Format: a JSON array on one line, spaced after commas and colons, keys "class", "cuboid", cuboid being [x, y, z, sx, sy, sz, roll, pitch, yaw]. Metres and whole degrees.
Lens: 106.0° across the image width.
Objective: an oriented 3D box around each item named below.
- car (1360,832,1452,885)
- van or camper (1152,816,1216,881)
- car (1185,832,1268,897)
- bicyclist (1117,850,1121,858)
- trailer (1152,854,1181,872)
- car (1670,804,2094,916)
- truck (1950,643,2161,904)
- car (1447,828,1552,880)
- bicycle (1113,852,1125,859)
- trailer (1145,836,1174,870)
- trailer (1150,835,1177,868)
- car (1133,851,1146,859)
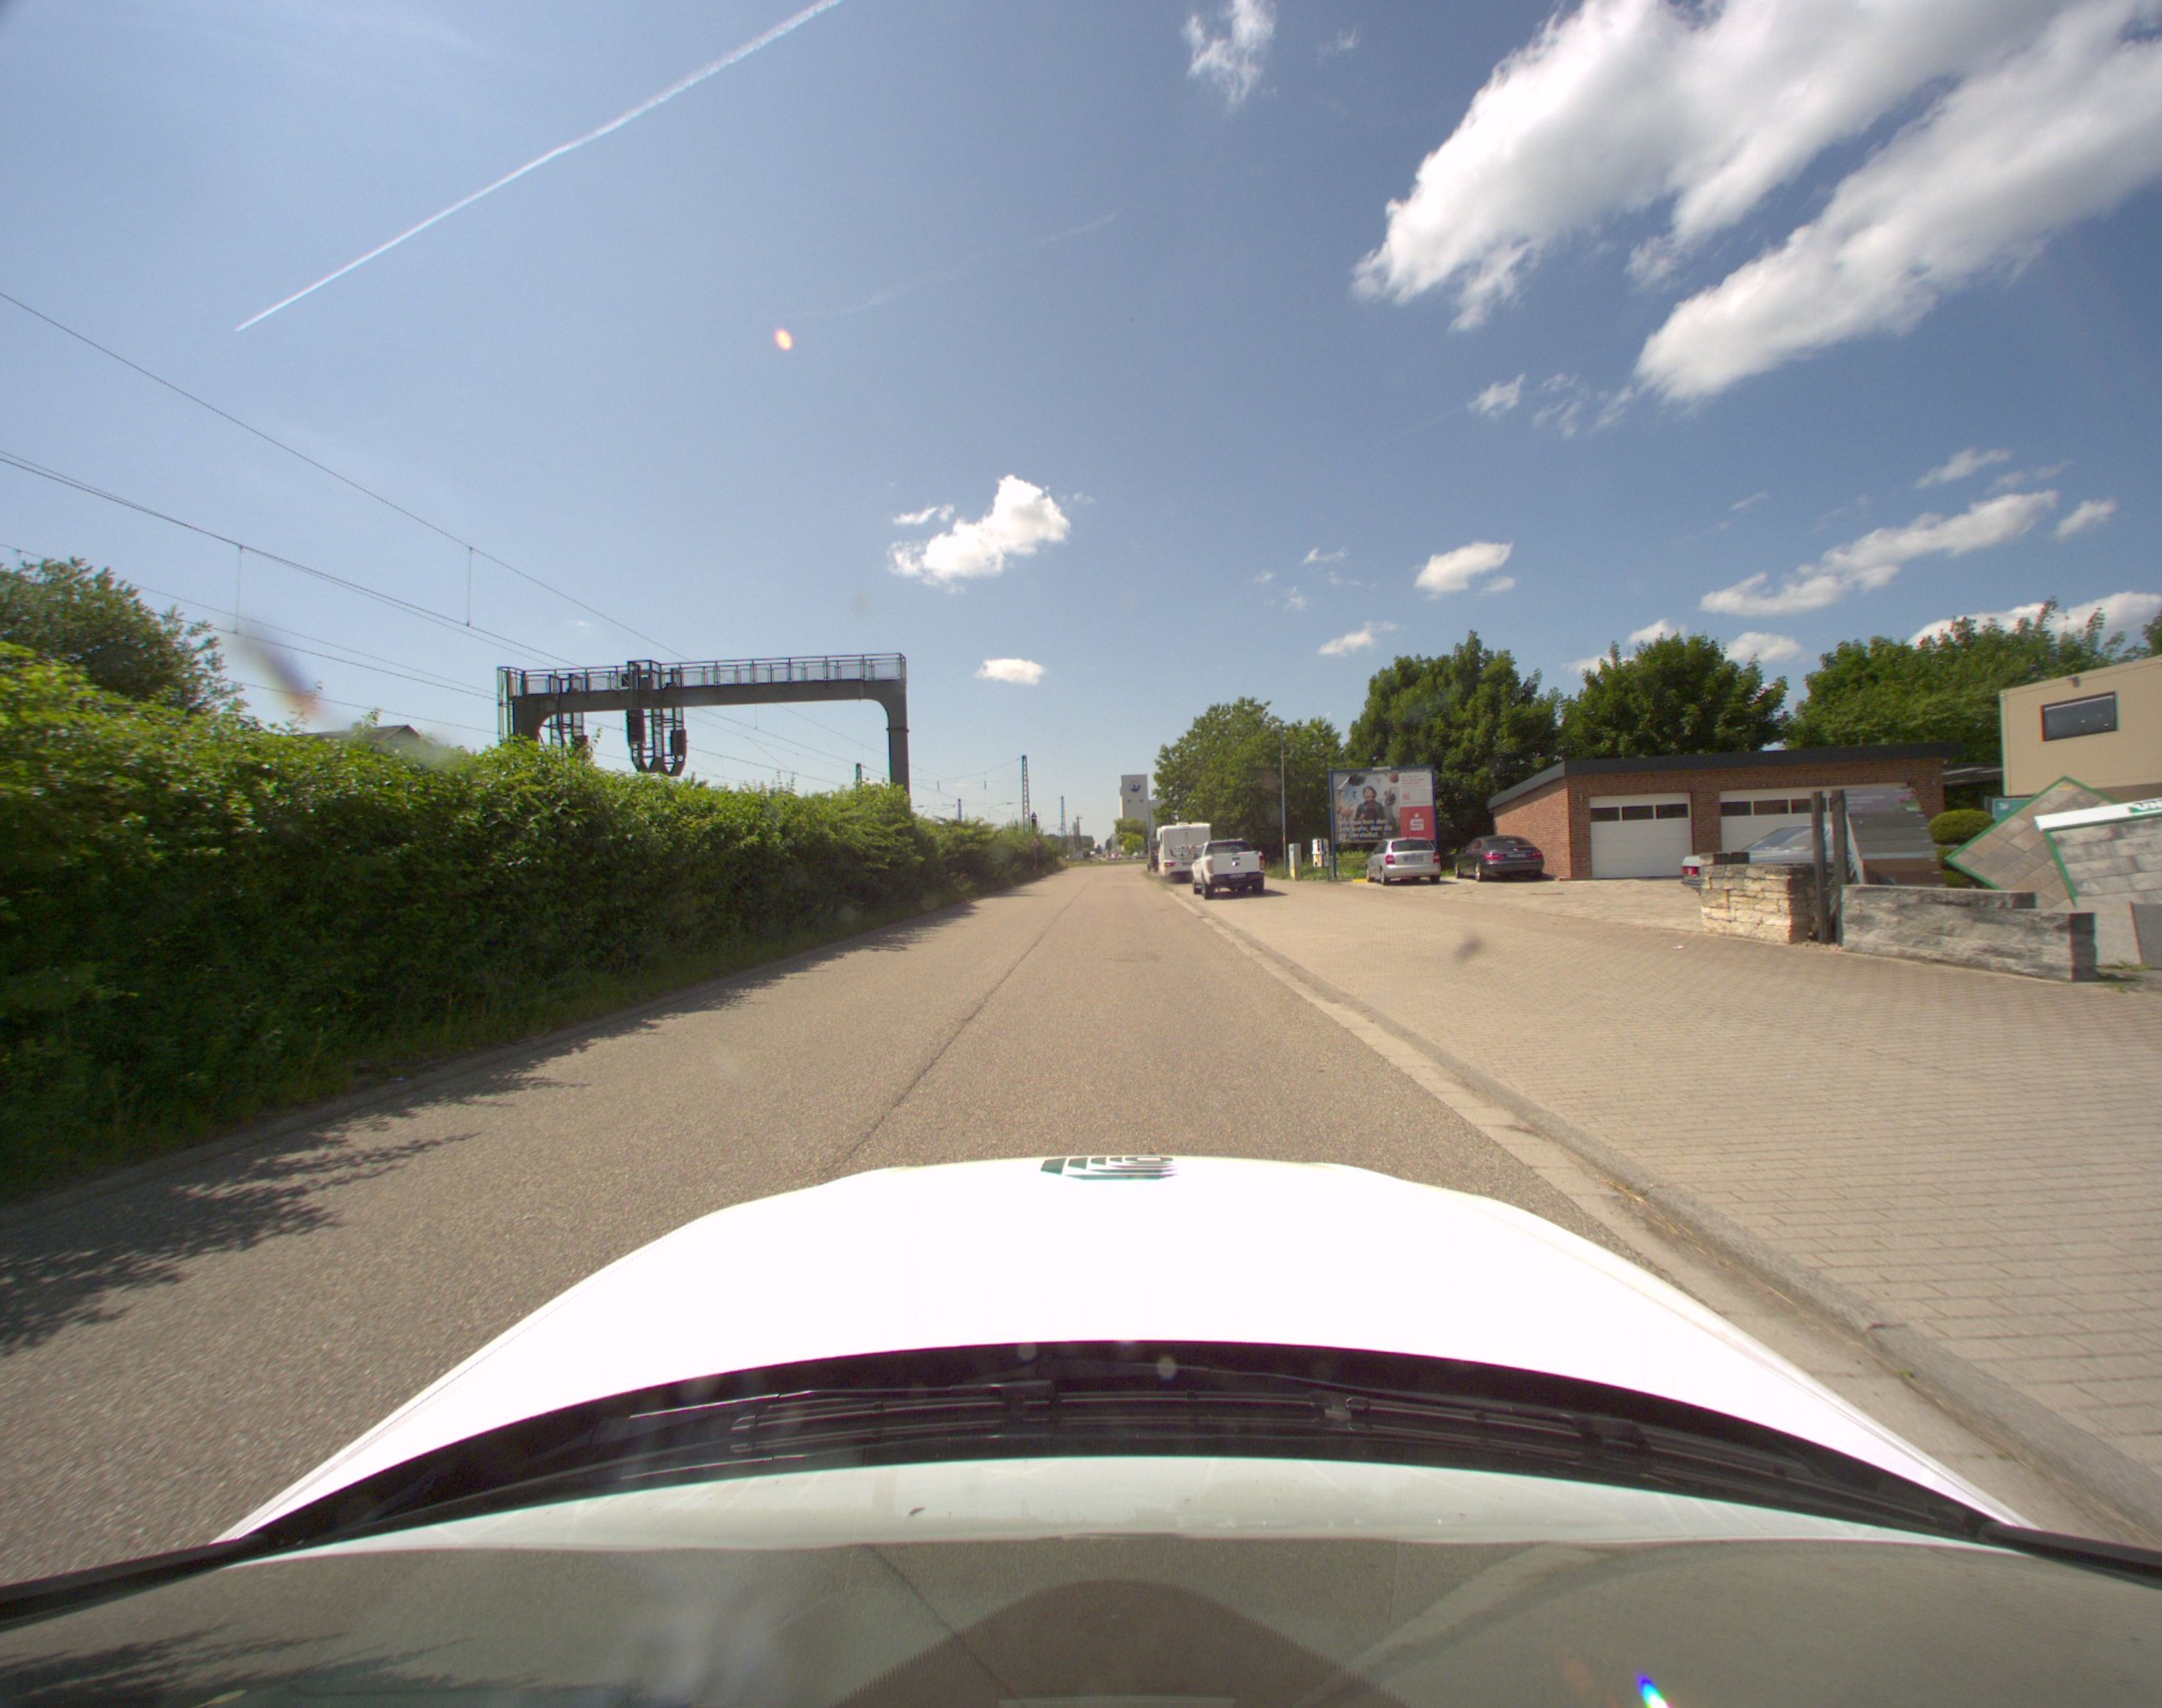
[{"class": "car", "cuboid": [10.419, 0.117, 26.431, 1.894, 1.480, 4.011, -4, 0, 10]}, {"class": "van or camper", "cuboid": [5.115, -0.256, 41.480, 2.429, 2.826, 7.627, -4, 0, 2]}, {"class": "car", "cuboid": [4.700, 0.307, 27.031, 1.840, 1.814, 5.427, -3, 0, 2]}, {"class": "bicyclist", "cuboid": [6.670, 0.012, 143.923, 0.505, 1.255, 0.472, -2, 0, 36]}, {"class": "trailer", "cuboid": [6.275, 0.658, 60.205, 1.995, 1.123, 4.495, -5, -1, 5]}, {"class": "car", "cuboid": [11.962, 0.106, 12.525, 4.240, 1.420, 1.983, -2, 0, 11]}, {"class": "truck", "cuboid": [17.457, -1.197, 11.510, 6.421, 3.388, 3.116, -3, 0, 10]}, {"class": "car", "cuboid": [12.954, -0.011, 25.463, 1.736, 1.376, 4.011, -4, 0, 10]}, {"class": "bicycle", "cuboid": [6.736, 0.303, 143.898, 2.118, 1.164, 0.665, -2, 0, 36]}, {"class": "trailer", "cuboid": [6.311, -0.111, 65.644, 1.911, 2.508, 4.744, -5, 0, 3]}, {"class": "trailer", "cuboid": [7.245, -0.234, 70.778, 1.922, 2.644, 5.195, -5, 0, 8]}, {"class": "car", "cuboid": [11.639, 0.110, 163.485, 1.989, 1.510, 4.449, -2, 0, -3]}]
